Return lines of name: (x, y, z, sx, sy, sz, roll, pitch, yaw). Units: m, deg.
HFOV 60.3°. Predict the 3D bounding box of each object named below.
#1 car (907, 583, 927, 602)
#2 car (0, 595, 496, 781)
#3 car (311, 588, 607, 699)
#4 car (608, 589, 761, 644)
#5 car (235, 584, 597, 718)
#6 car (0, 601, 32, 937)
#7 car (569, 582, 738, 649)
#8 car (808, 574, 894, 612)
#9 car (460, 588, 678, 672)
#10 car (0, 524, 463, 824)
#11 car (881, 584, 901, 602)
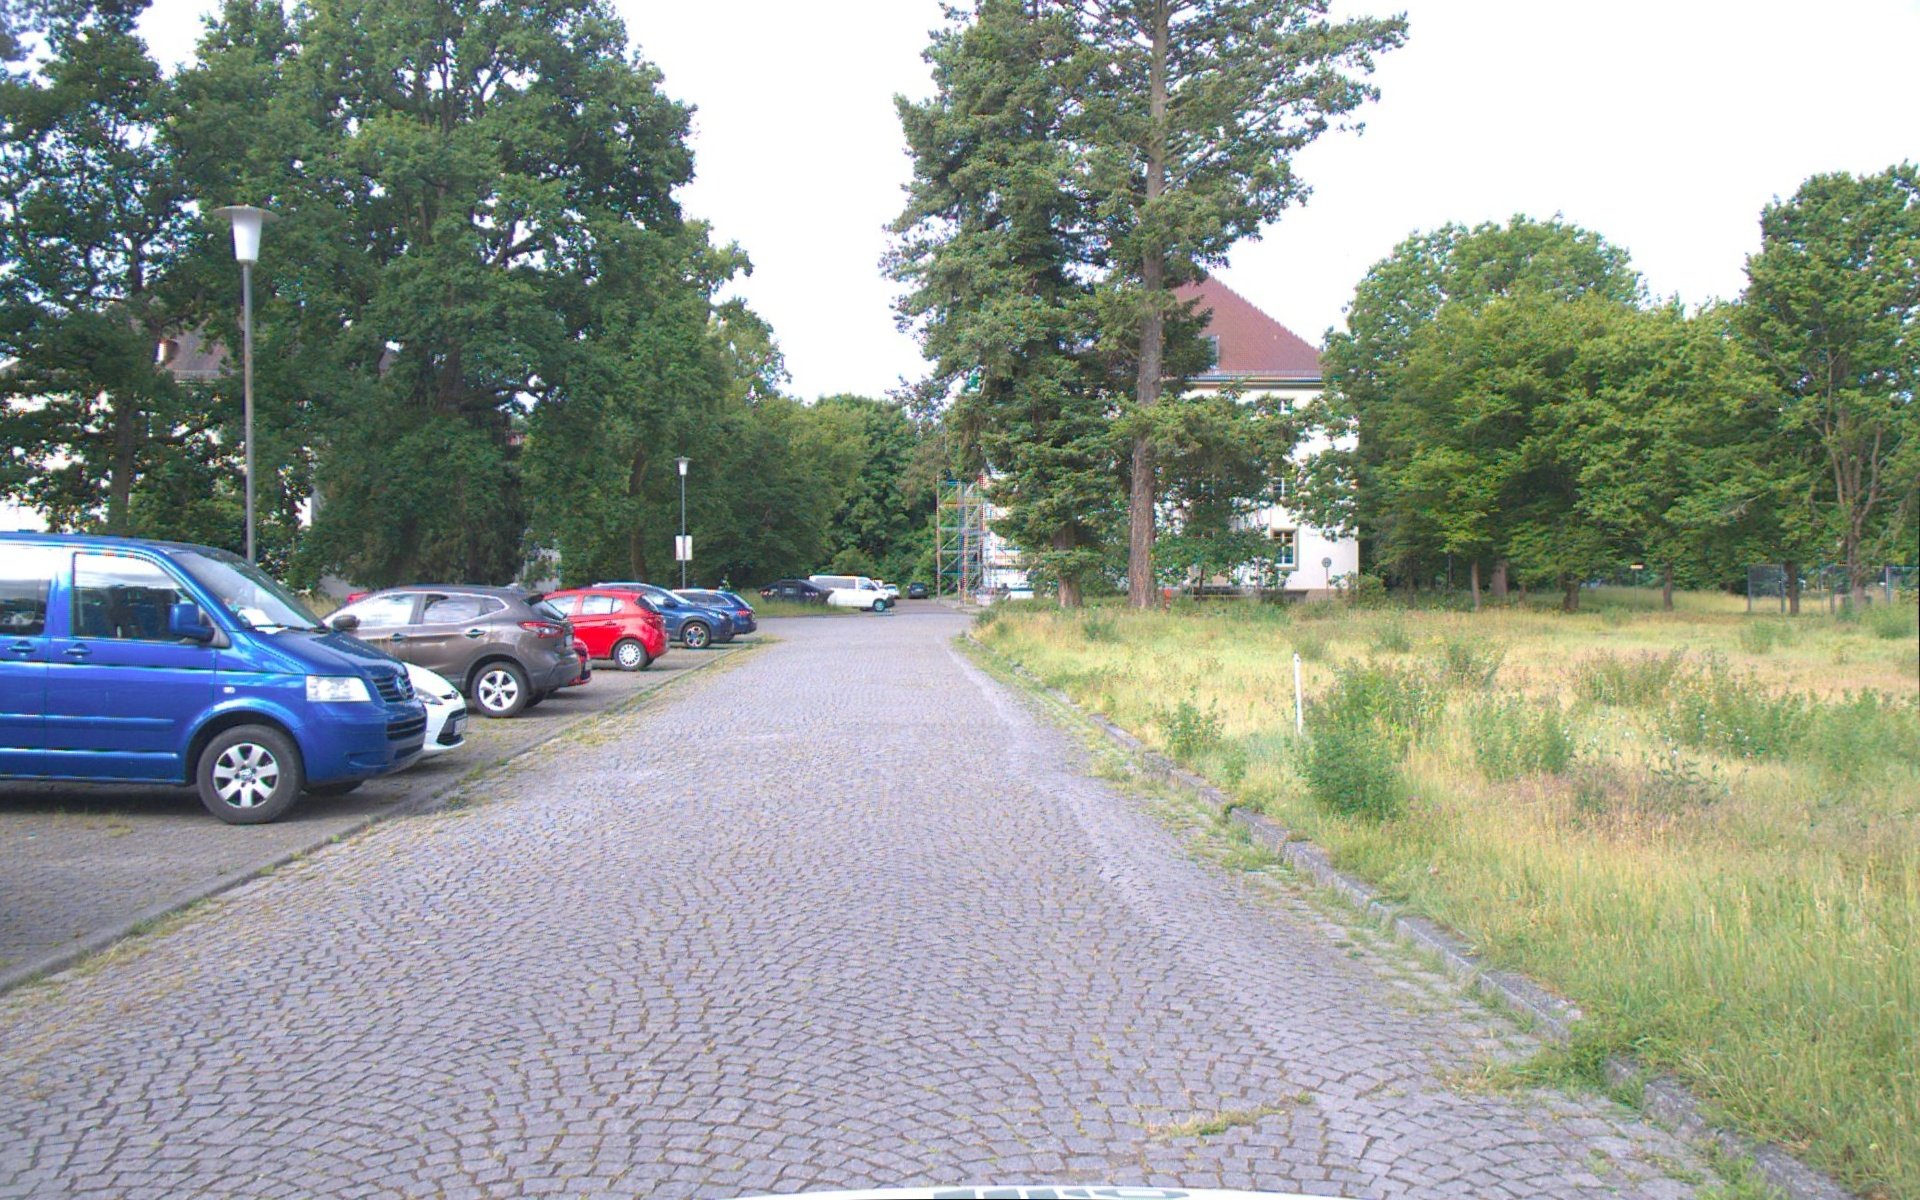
car: (-4.190, -0.705, 161.831, 1.755, 1.750, 4.057, -1, -1, -4)
car: (-6.201, 0.724, 14.713, 3.720, 1.519, 1.724, 0, 1, -5)
car: (-7.105, 0.598, 23.752, 3.739, 1.512, 1.760, 0, 1, -3)
car: (-7.656, 0.449, 46.217, 3.987, 1.493, 1.626, 0, 1, 1)
car: (-6.773, 0.601, 20.980, 3.987, 1.602, 1.953, 0, 1, -4)
car: (-6.321, 0.777, 6.821, 3.924, 1.528, 1.842, 0, 1, -1)
car: (-7.637, 0.380, 41.517, 3.991, 1.632, 1.786, 0, 1, -4)
car: (-6.296, -0.406, 95.301, 4.880, 2.109, 2.050, 1, -1, -4)
car: (-7.326, 0.540, 31.275, 3.740, 1.515, 1.786, 0, 1, -4)
car: (-6.241, 0.484, 12.128, 4.616, 2.015, 2.037, 0, 1, -4)
car: (-6.744, -0.638, 161.377, 1.755, 1.665, 4.057, -1, -1, -4)
